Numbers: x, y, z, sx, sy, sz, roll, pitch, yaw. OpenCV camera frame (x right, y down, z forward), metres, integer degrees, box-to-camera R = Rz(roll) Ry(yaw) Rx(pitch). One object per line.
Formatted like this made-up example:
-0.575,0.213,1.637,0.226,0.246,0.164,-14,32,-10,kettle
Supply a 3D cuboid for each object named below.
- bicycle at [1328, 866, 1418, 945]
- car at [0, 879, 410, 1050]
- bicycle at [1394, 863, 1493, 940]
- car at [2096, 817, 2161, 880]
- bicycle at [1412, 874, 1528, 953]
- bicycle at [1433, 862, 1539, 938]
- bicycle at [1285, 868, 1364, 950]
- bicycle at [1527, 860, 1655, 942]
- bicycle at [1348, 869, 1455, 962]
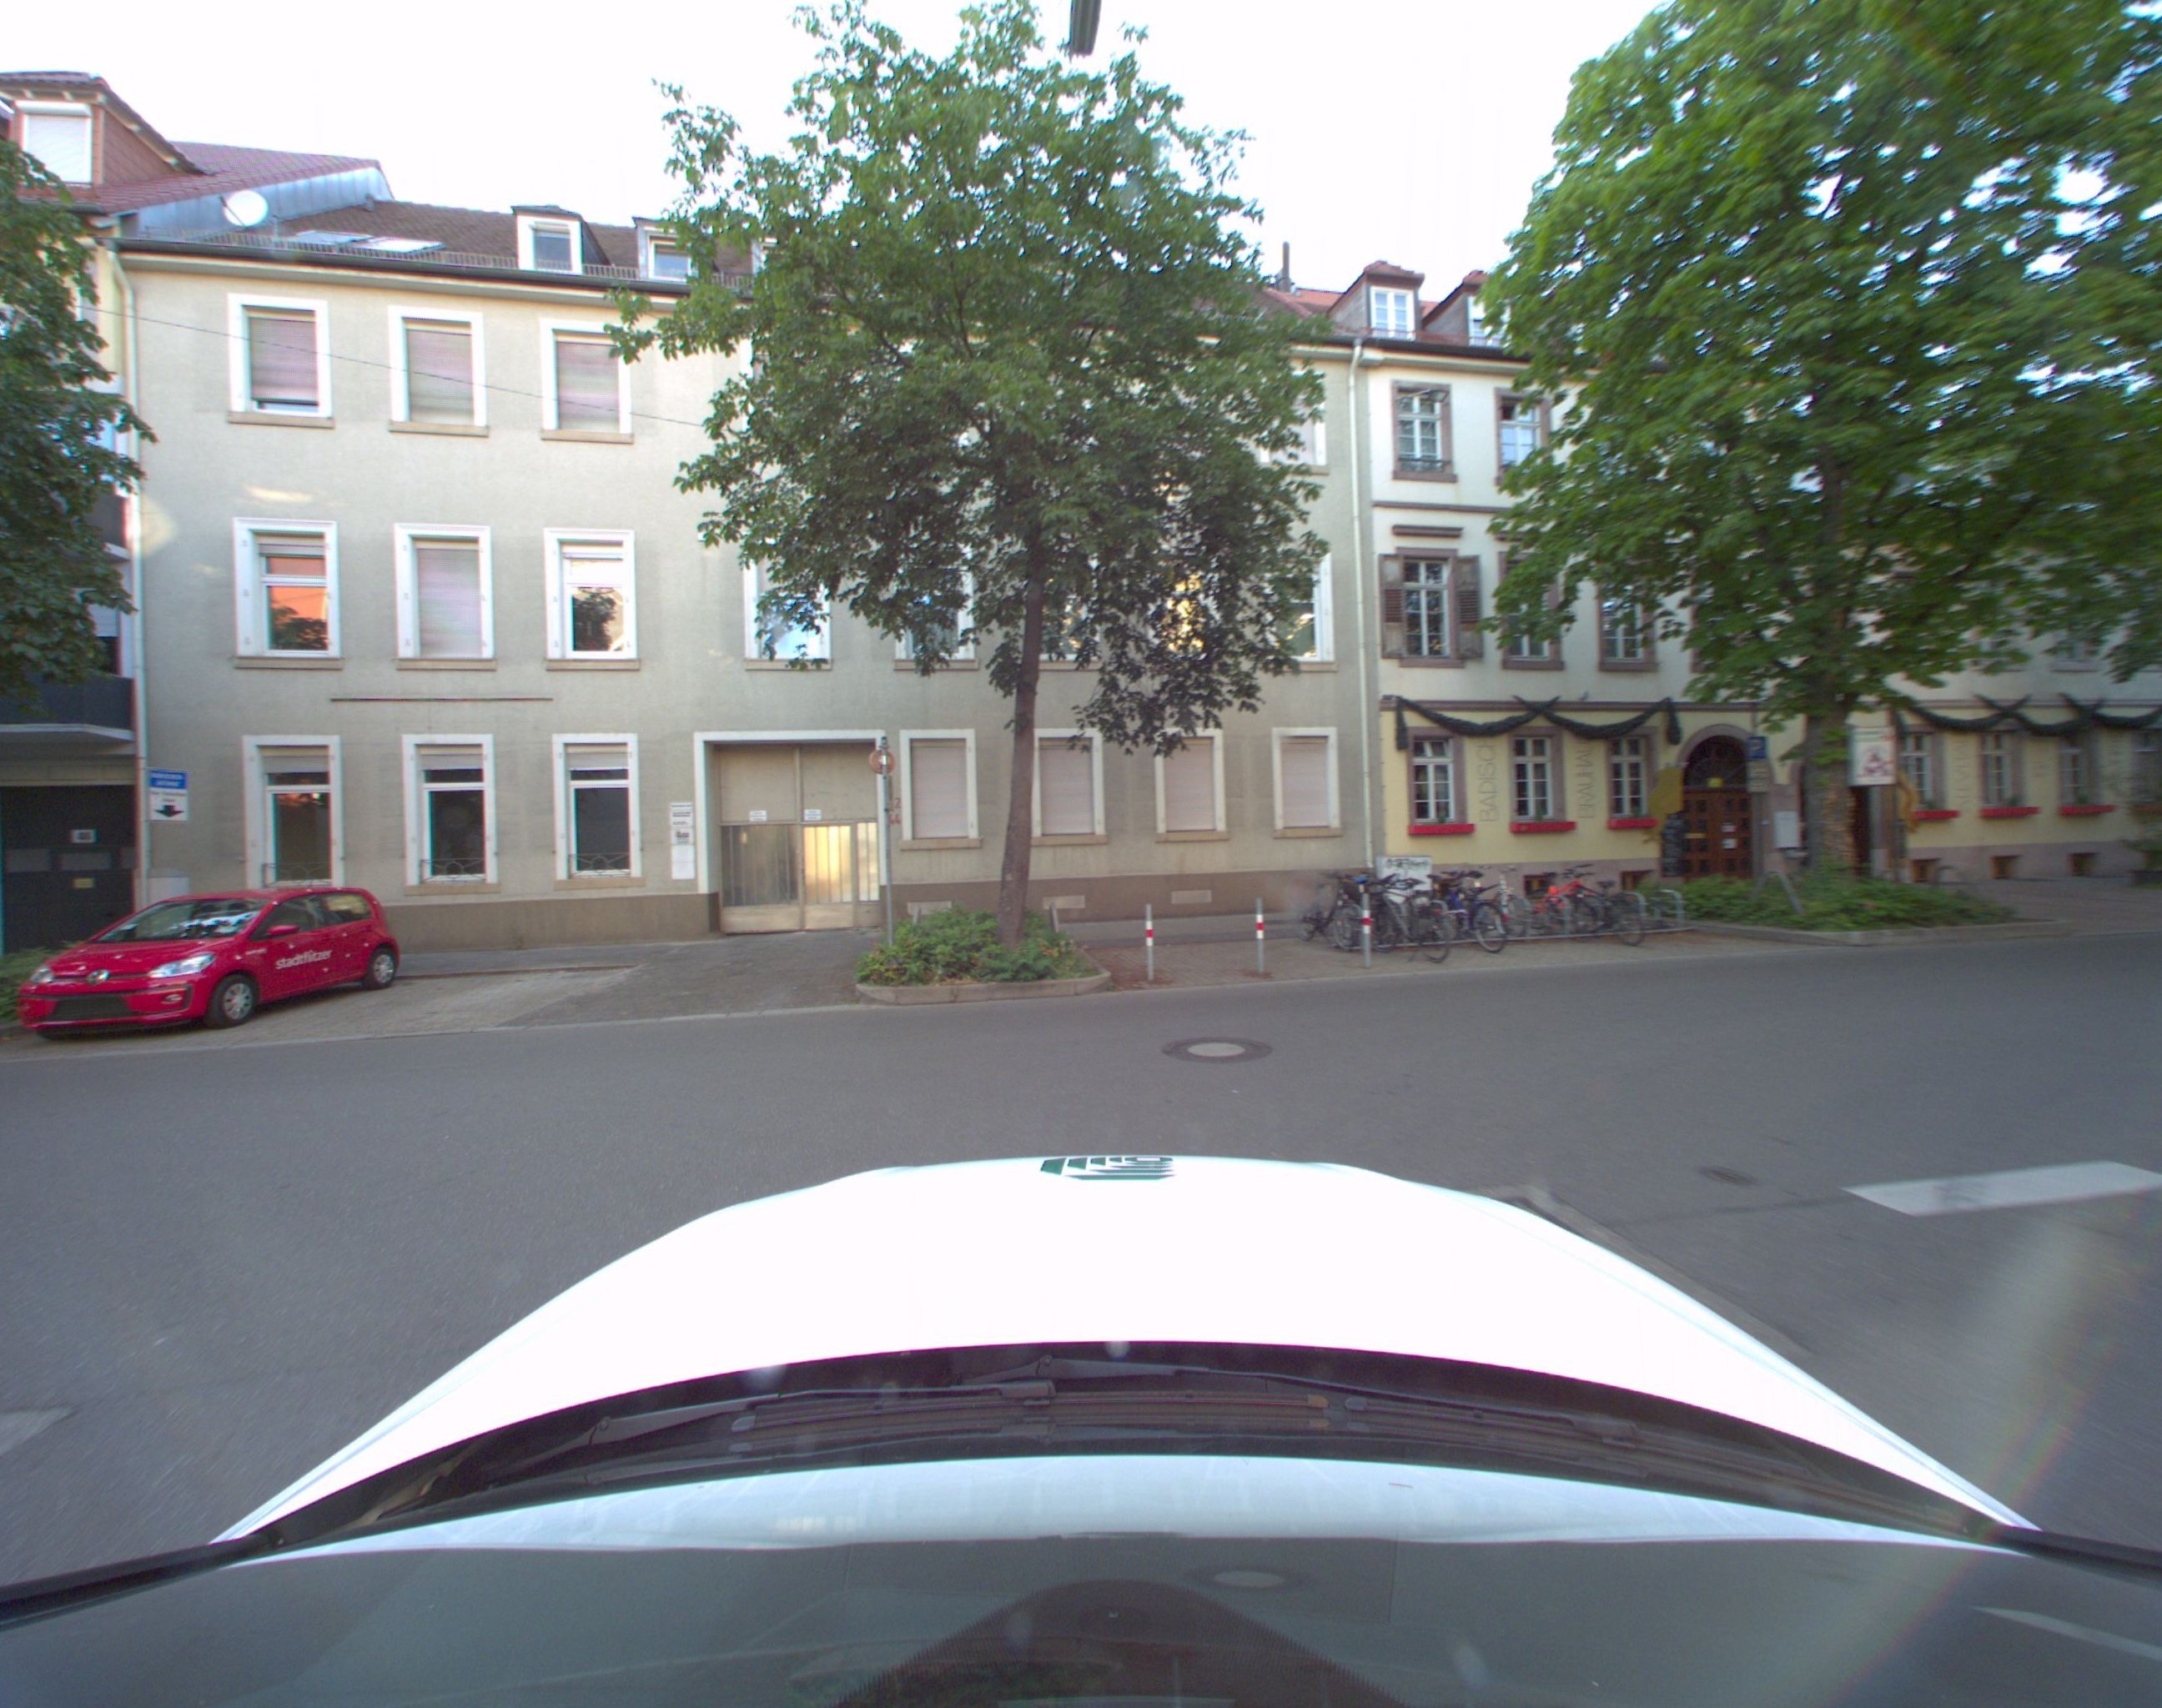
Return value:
4.668,0.784,13.164,0.420,1.145,2.036,-2,0,-9,bicycle
-10.167,1.136,9.822,1.561,1.475,3.655,-2,1,-10,car
5.922,0.728,13.443,0.420,1.145,2.036,-2,0,-9,bicycle
27.072,-0.161,18.706,1.769,1.505,4.435,-2,0,-7,car
5.641,0.829,11.951,0.420,1.004,2.036,-2,0,-9,bicycle
6.630,0.713,13.457,0.420,1.145,2.036,-2,0,-9,bicycle
3.802,0.814,12.884,0.444,1.145,2.039,-2,0,-5,bicycle
7.819,0.681,12.607,0.420,1.145,2.036,-2,0,-9,bicycle
4.440,0.800,11.449,0.444,1.145,2.037,-2,0,-7,bicycle
